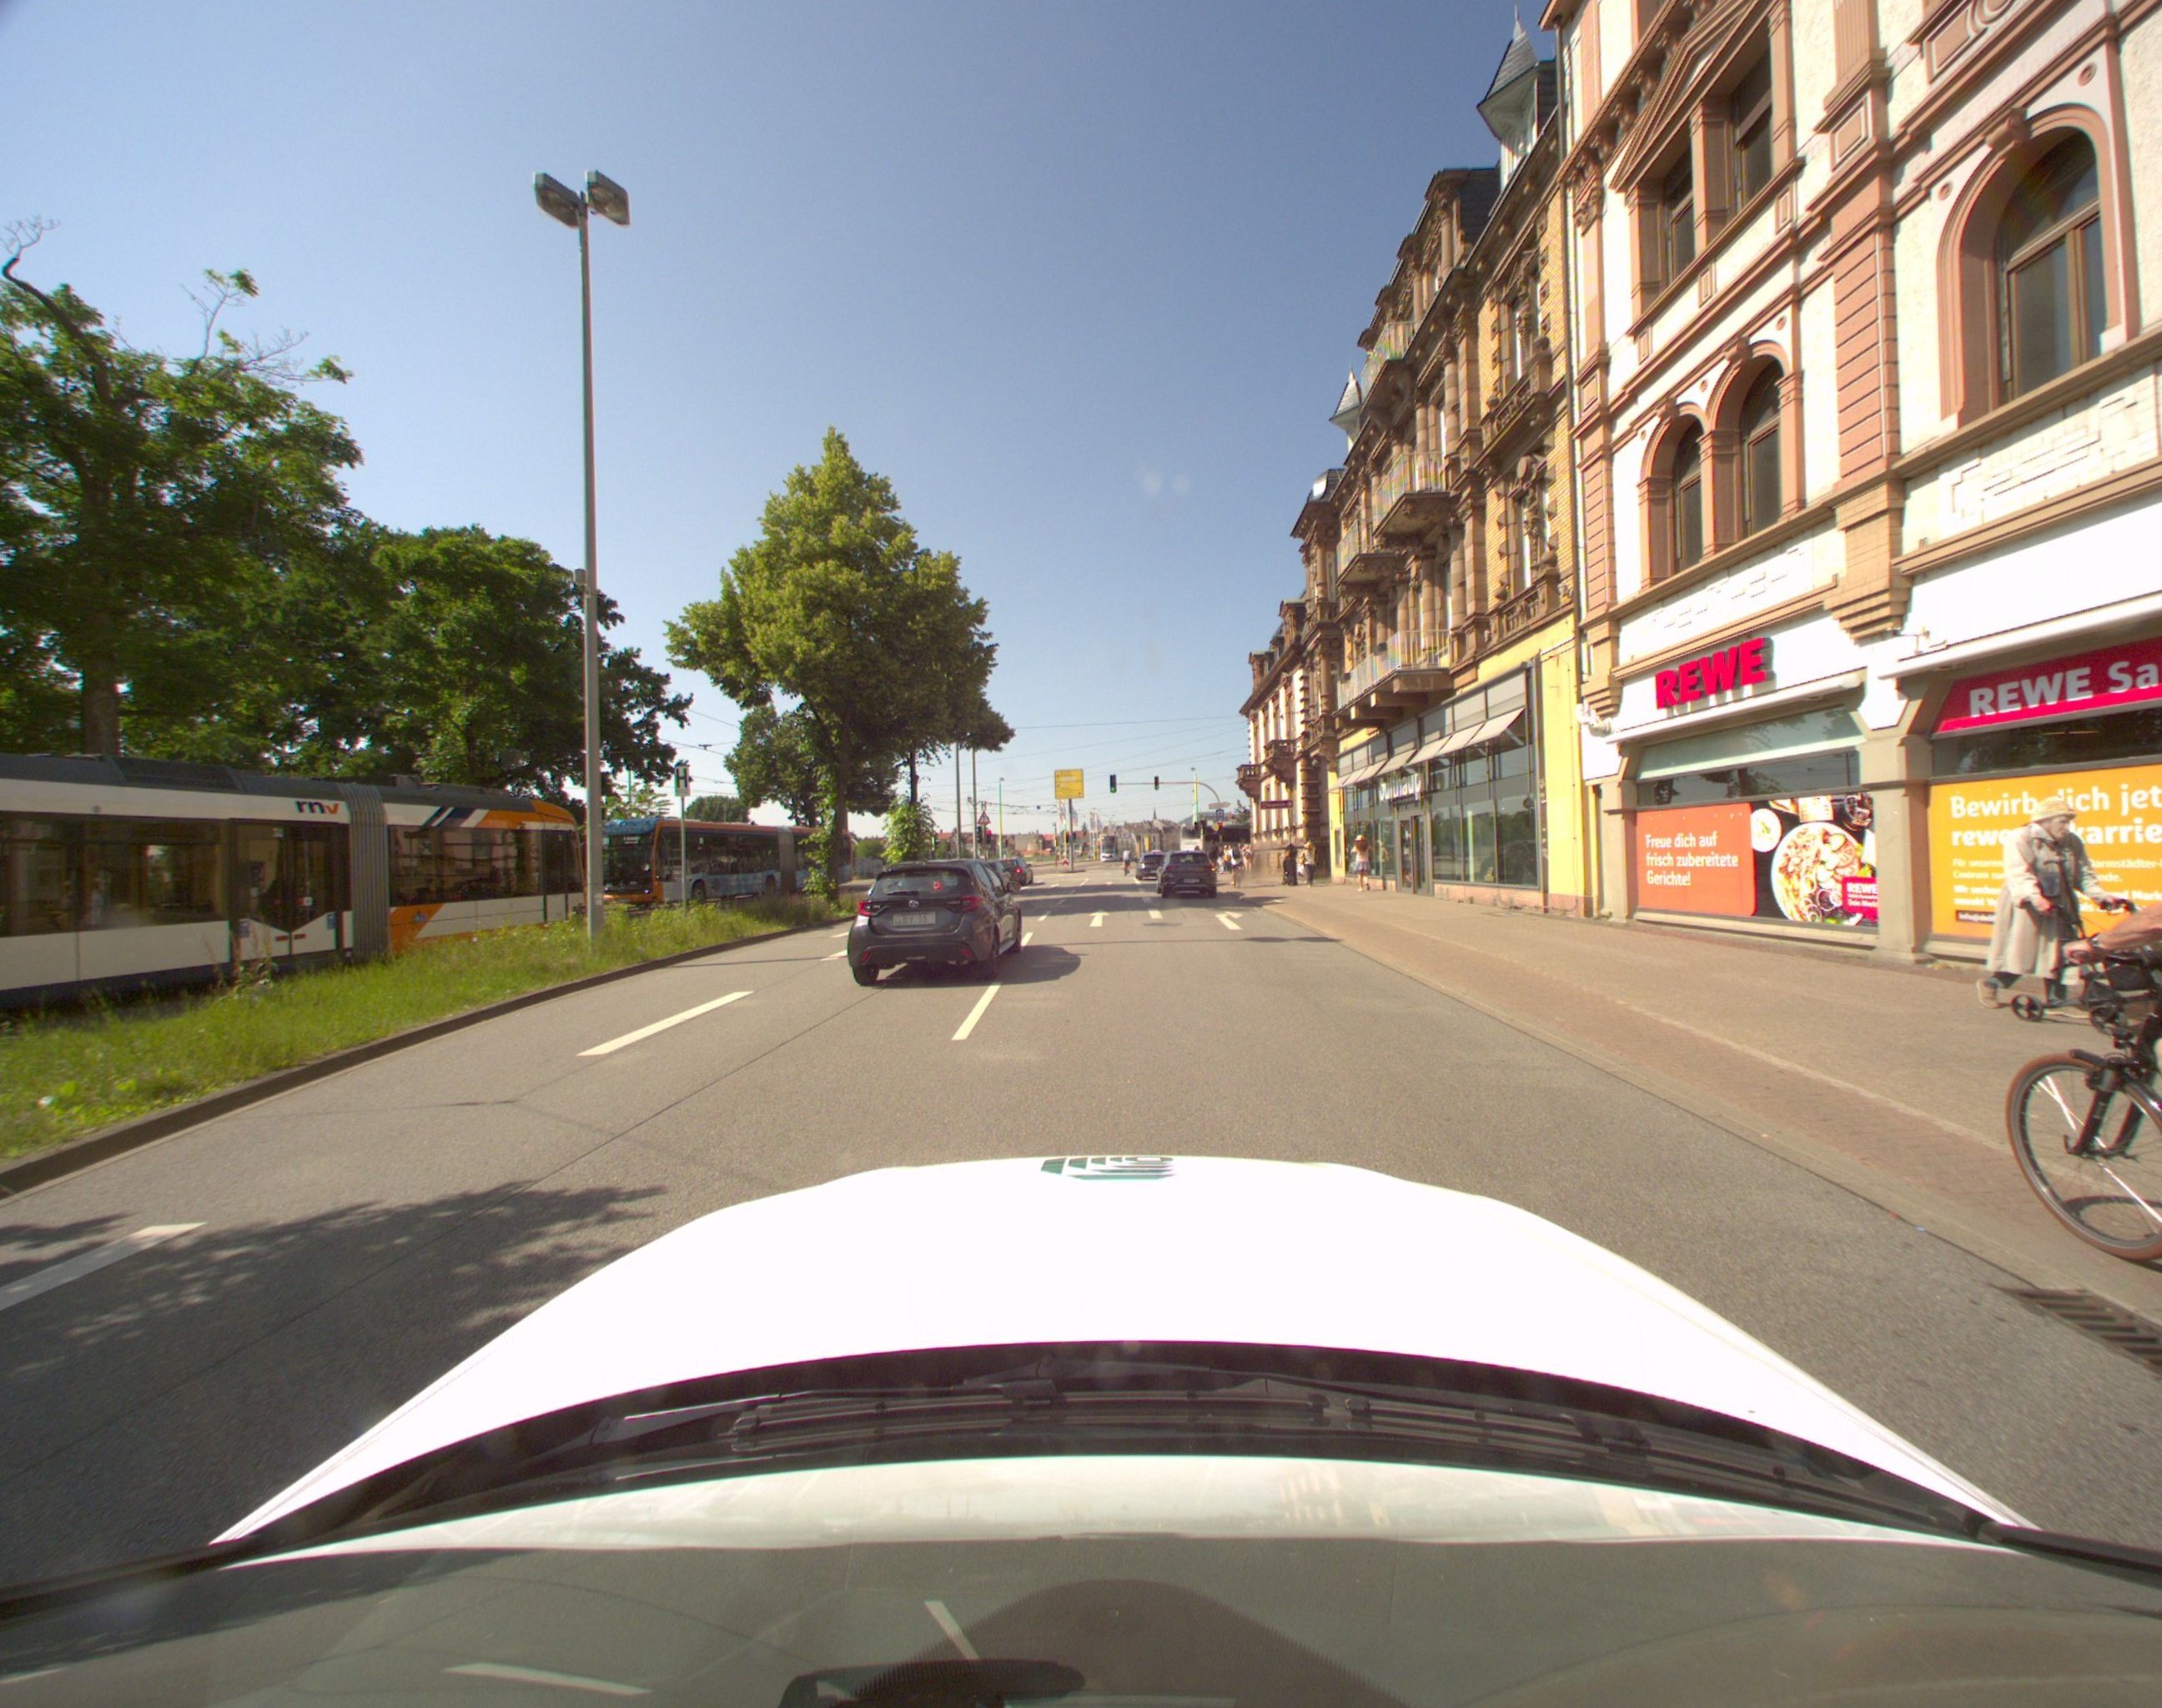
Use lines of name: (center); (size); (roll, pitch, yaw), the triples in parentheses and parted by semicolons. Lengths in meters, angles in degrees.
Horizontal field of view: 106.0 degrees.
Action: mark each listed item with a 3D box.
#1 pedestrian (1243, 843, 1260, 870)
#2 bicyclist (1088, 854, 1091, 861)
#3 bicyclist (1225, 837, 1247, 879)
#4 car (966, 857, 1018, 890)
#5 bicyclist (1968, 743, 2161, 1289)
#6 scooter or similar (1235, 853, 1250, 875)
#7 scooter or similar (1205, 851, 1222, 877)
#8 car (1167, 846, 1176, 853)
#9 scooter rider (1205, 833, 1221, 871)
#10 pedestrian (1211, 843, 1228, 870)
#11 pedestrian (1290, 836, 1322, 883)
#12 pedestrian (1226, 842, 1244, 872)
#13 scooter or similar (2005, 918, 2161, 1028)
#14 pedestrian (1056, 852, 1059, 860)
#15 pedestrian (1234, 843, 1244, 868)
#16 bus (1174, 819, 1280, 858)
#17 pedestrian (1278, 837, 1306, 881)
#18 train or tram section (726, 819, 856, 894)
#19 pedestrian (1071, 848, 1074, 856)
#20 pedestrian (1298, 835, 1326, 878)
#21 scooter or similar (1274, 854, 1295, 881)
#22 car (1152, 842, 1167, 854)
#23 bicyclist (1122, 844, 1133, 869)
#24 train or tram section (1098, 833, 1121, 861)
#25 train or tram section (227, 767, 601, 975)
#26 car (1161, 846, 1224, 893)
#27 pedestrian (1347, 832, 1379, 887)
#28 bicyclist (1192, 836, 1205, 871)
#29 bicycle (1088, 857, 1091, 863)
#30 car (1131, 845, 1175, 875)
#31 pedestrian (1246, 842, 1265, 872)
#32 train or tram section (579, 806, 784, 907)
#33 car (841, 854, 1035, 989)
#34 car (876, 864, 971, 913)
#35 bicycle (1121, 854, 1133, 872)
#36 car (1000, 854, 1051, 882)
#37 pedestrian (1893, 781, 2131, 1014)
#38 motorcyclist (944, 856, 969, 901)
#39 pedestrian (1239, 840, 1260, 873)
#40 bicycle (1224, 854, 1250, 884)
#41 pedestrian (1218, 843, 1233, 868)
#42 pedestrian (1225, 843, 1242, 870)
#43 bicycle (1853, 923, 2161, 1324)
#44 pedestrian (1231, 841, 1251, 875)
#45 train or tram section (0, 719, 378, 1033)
pedestrian: (10.388, 0.142, 49.696); (0.859, 1.640, 0.876); (0, -1, 1)
bicyclist: (1.815, 0.740, 174.911); (0.556, 1.536, 0.743); (0, -1, 1)
bicyclist: (5.958, 0.167, 31.276); (0.685, 1.577, 1.050); (0, -1, 2)
car: (-3.636, 0.792, 33.937); (1.445, 1.301, 4.004); (0, 0, 4)
bicyclist: (3.566, 0.481, 2.522); (0.684, 1.616, 0.921); (0, -1, 9)
scooter or similar: (7.829, 0.474, 39.446); (0.598, 1.047, 0.800); (0, -1, 1)
scooter or similar: (6.145, 0.447, 37.900); (0.685, 1.167, 1.466); (0, -1, 6)
car: (22.131, -1.105, 198.955); (1.850, 1.507, 4.004); (0, -1, 4)
scooter rider: (6.167, -0.090, 37.943); (0.685, 1.729, 0.779); (0, -1, 6)
pedestrian: (8.313, 0.147, 48.973); (0.859, 1.640, 0.876); (0, -1, 1)
pedestrian: (8.134, 0.184, 29.417); (0.859, 1.640, 0.876); (-3, 0, 1)
pedestrian: (8.484, 0.170, 44.977); (0.859, 1.640, 0.876); (0, -1, 1)
scooter or similar: (7.286, 0.830, 5.807); (0.688, 0.650, 0.566); (-5, -1, 2)
pedestrian: (-4.092, 0.360, 141.780); (0.556, 1.416, 0.636); (0, -1, 1)
pedestrian: (10.500, 0.125, 54.111); (0.574, 1.640, 0.611); (0, -1, 1)
bus: (11.448, -1.138, 63.297); (8.678, 2.776, 2.946); (1, -1, -36)
pedestrian: (7.964, 0.186, 30.829); (0.859, 1.640, 0.876); (0, -1, 1)
train or tram section: (-15.071, 0.150, 43.168); (2.806, 3.581, 8.247); (0, -1, 9)
pedestrian: (-1.703, -0.378, 158.418); (0.556, 1.416, 0.636); (0, -1, 1)
pedestrian: (9.017, 0.104, 31.792); (0.859, 1.640, 0.876); (0, -1, 1)
scooter or similar: (7.852, 0.522, 31.439); (0.598, 1.047, 0.800); (0, -1, 1)
car: (9.939, -0.727, 103.012); (1.850, 1.507, 4.004); (0, -1, 4)
bicyclist: (2.941, 0.151, 51.888); (0.686, 1.577, 1.050); (0, -1, 1)
train or tram section: (4.033, -0.937, 113.341); (2.809, 3.777, 8.238); (0, 0, 5)
train or tram section: (-13.285, 0.309, 17.047); (2.603, 3.581, 6.021); (0, -1, 3)
car: (3.723, 0.509, 27.800); (1.865, 1.493, 4.004); (0, -1, 4)
pedestrian: (8.546, 0.152, 24.729); (0.652, 1.620, 0.816); (-2, 0, 1)
bicyclist: (6.642, -0.022, 46.100); (0.685, 1.962, 0.779); (0, -1, 6)
bicycle: (1.809, 1.269, 174.928); (0.556, 1.125, 1.223); (0, -1, 1)
car: (3.781, 0.325, 43.246); (1.987, 1.493, 4.000); (0, -1, 0)
pedestrian: (9.471, 0.157, 44.320); (0.859, 1.640, 0.876); (0, -1, 1)
train or tram section: (-16.091, 0.128, 34.062); (2.809, 3.581, 10.045); (0, -1, 5)
car: (-1.767, 0.797, 11.388); (1.770, 1.475, 4.003); (-3, -1, 3)
car: (-4.634, 0.971, 24.555); (1.807, 1.332, 4.004); (0, 0, 4)
bicycle: (2.944, 0.568, 51.974); (0.731, 1.093, 1.898); (0, -1, 2)
car: (-2.806, 0.709, 42.062); (2.028, 1.332, 4.004); (0, 0, 4)
pedestrian: (7.273, 0.329, 6.417); (0.753, 1.656, 0.838); (-5, -1, 2)
motorcyclist: (-4.482, 0.872, 29.360); (0.687, 1.555, 0.717); (-3, -2, 0)
pedestrian: (8.553, 0.114, 41.327); (0.859, 1.640, 0.876); (-2, 0, 1)
bicycle: (5.956, 0.560, 31.214); (0.731, 1.093, 1.899); (0, -1, 3)
pedestrian: (9.547, 0.111, 53.975); (0.859, 1.640, 0.876); (0, -1, 1)
pedestrian: (9.244, 0.155, 49.326); (0.859, 1.640, 0.876); (0, -1, 1)
bicycle: (3.564, 0.839, 2.522); (0.730, 1.093, 1.915); (0, -1, 8)
pedestrian: (7.877, 0.183, 40.169); (0.859, 1.640, 0.876); (0, -1, 1)
train or tram section: (-13.594, 0.256, 10.599); (2.603, 3.581, 6.903); (0, -1, 3)
